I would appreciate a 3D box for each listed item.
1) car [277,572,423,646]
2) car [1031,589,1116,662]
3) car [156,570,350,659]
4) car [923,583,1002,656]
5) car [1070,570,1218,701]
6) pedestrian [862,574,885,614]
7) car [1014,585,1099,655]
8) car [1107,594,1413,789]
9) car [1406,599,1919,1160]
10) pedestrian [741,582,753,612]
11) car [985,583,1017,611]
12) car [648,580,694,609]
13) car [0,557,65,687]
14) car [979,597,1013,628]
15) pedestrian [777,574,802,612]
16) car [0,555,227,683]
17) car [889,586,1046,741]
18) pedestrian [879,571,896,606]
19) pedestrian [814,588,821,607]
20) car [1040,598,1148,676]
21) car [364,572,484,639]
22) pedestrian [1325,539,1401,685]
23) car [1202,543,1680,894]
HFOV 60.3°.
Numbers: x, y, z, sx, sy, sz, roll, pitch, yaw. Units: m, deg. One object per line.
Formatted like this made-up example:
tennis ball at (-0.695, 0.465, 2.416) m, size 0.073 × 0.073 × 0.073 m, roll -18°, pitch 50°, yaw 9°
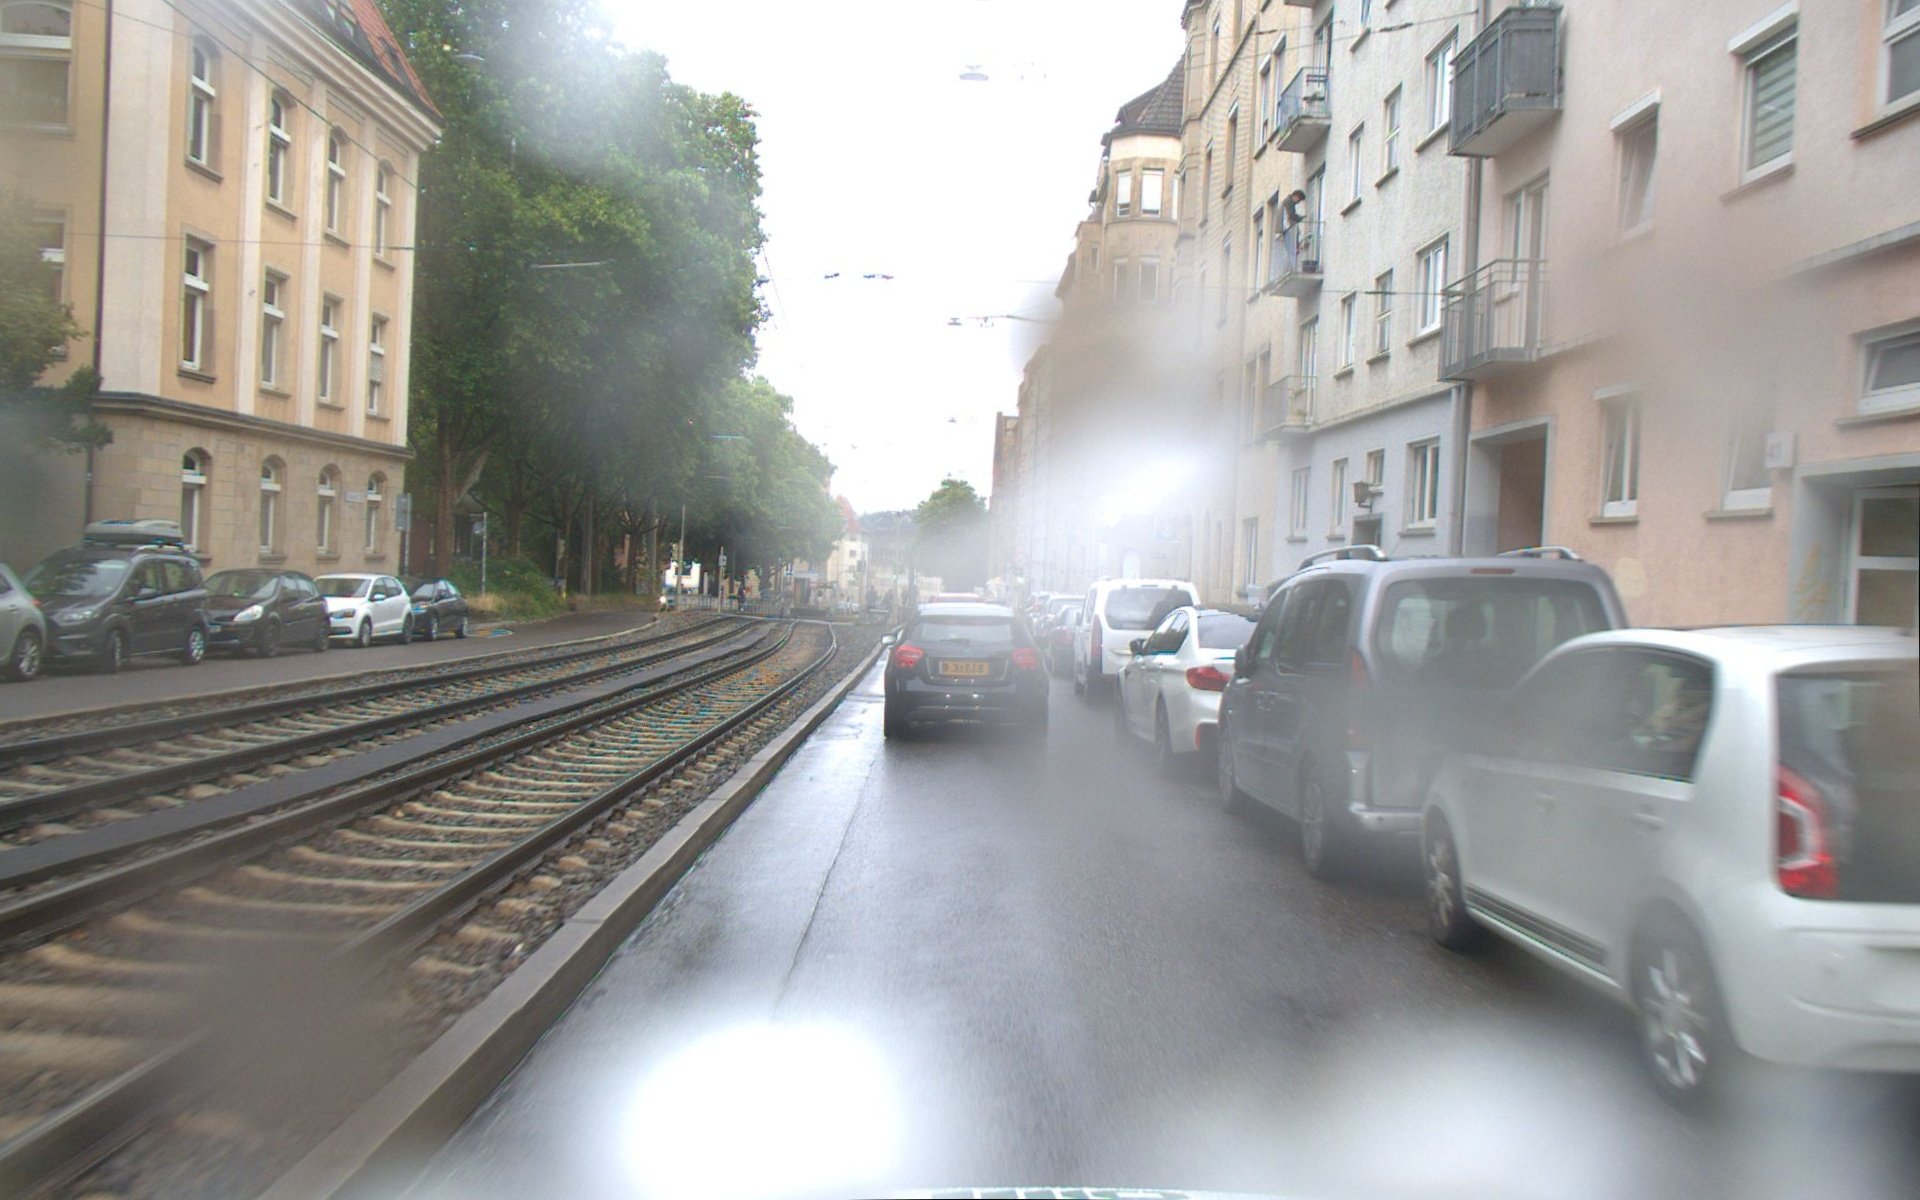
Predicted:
car at (-12.377, 0.164, 33.815) m, size 1.469 × 1.415 × 3.987 m, roll 0°, pitch 0°, yaw 0°
car at (2.590, 0.548, 38.475) m, size 1.659 × 1.556 × 4.000 m, roll 2°, pitch 0°, yaw 0°
car at (-12.267, 0.222, 28.968) m, size 1.640 × 1.438 × 4.010 m, roll 0°, pitch 0°, yaw 0°
car at (0.033, 0.441, 39.587) m, size 1.749 × 1.608 × 3.999 m, roll 2°, pitch 0°, yaw -1°
car at (2.710, 0.483, 25.323) m, size 1.790 × 1.781 × 4.467 m, roll 2°, pitch 0°, yaw 1°
pedestrian at (-4.397, -0.321, 84.190) m, size 1.115 × 2.033 × 1.171 m, roll 0°, pitch 0°, yaw -5°
car at (2.508, 0.497, 44.005) m, size 1.731 × 1.697 × 4.330 m, roll 2°, pitch 0°, yaw -3°
car at (2.612, 0.723, 15.633) m, size 1.833 × 1.481 × 4.901 m, roll 1°, pitch 1°, yaw -2°
car at (2.964, 0.765, 6.263) m, size 1.538 × 1.487 × 3.599 m, roll 1°, pitch 0°, yaw 0°
pedestrian at (-13.093, -0.199, 101.698) m, size 0.523 × 1.784 × 0.607 m, roll 3°, pitch 0°, yaw 0°
car at (2.385, -0.194, 97.165) m, size 1.724 × 1.606 × 3.999 m, roll 0°, pitch 1°, yaw -1°
car at (-16.323, -0.324, 93.585) m, size 1.780 × 1.531 × 4.633 m, roll 2°, pitch 0°, yaw 0°
car at (-12.039, 0.268, 18.846) m, size 1.508 × 1.531 × 4.153 m, roll 0°, pitch 0°, yaw -2°
car at (1.972, 0.691, 92.662) m, size 1.790 × 1.646 × 3.864 m, roll 0°, pitch 1°, yaw -1°
pedestrian at (-7.960, -0.332, 77.209) m, size 1.033 × 1.748 × 0.904 m, roll 2°, pitch 0°, yaw 1°
car at (-12.155, 0.237, 23.725) m, size 1.544 × 1.672 × 4.070 m, roll 0°, pitch 0°, yaw -2°
car at (0.041, 0.633, 18.461) m, size 1.548 × 1.531 × 3.573 m, roll 2°, pitch 0°, yaw -1°
pedestrian at (-3.391, -0.544, 77.471) m, size 0.789 × 1.662 × 0.892 m, roll 0°, pitch 0°, yaw 0°
pedestrian at (-13.319, -0.251, 154.791) m, size 0.508 × 1.747 × 0.551 m, roll 3°, pitch 0°, yaw -1°
car at (2.635, 0.697, 33.372) m, size 1.683 × 1.370 × 4.460 m, roll 2°, pitch 0°, yaw -1°
car at (-12.459, 0.100, 38.679) m, size 1.581 × 1.454 × 3.851 m, roll 1°, pitch 1°, yaw -1°
pedestrian at (5.289, 0.150, 21.738) m, size 0.730 × 1.866 × 1.039 m, roll -1°, pitch 0°, yaw 1°
car at (2.796, 0.598, 10.634) m, size 1.754 × 1.796 × 4.211 m, roll 1°, pitch 0°, yaw -1°
